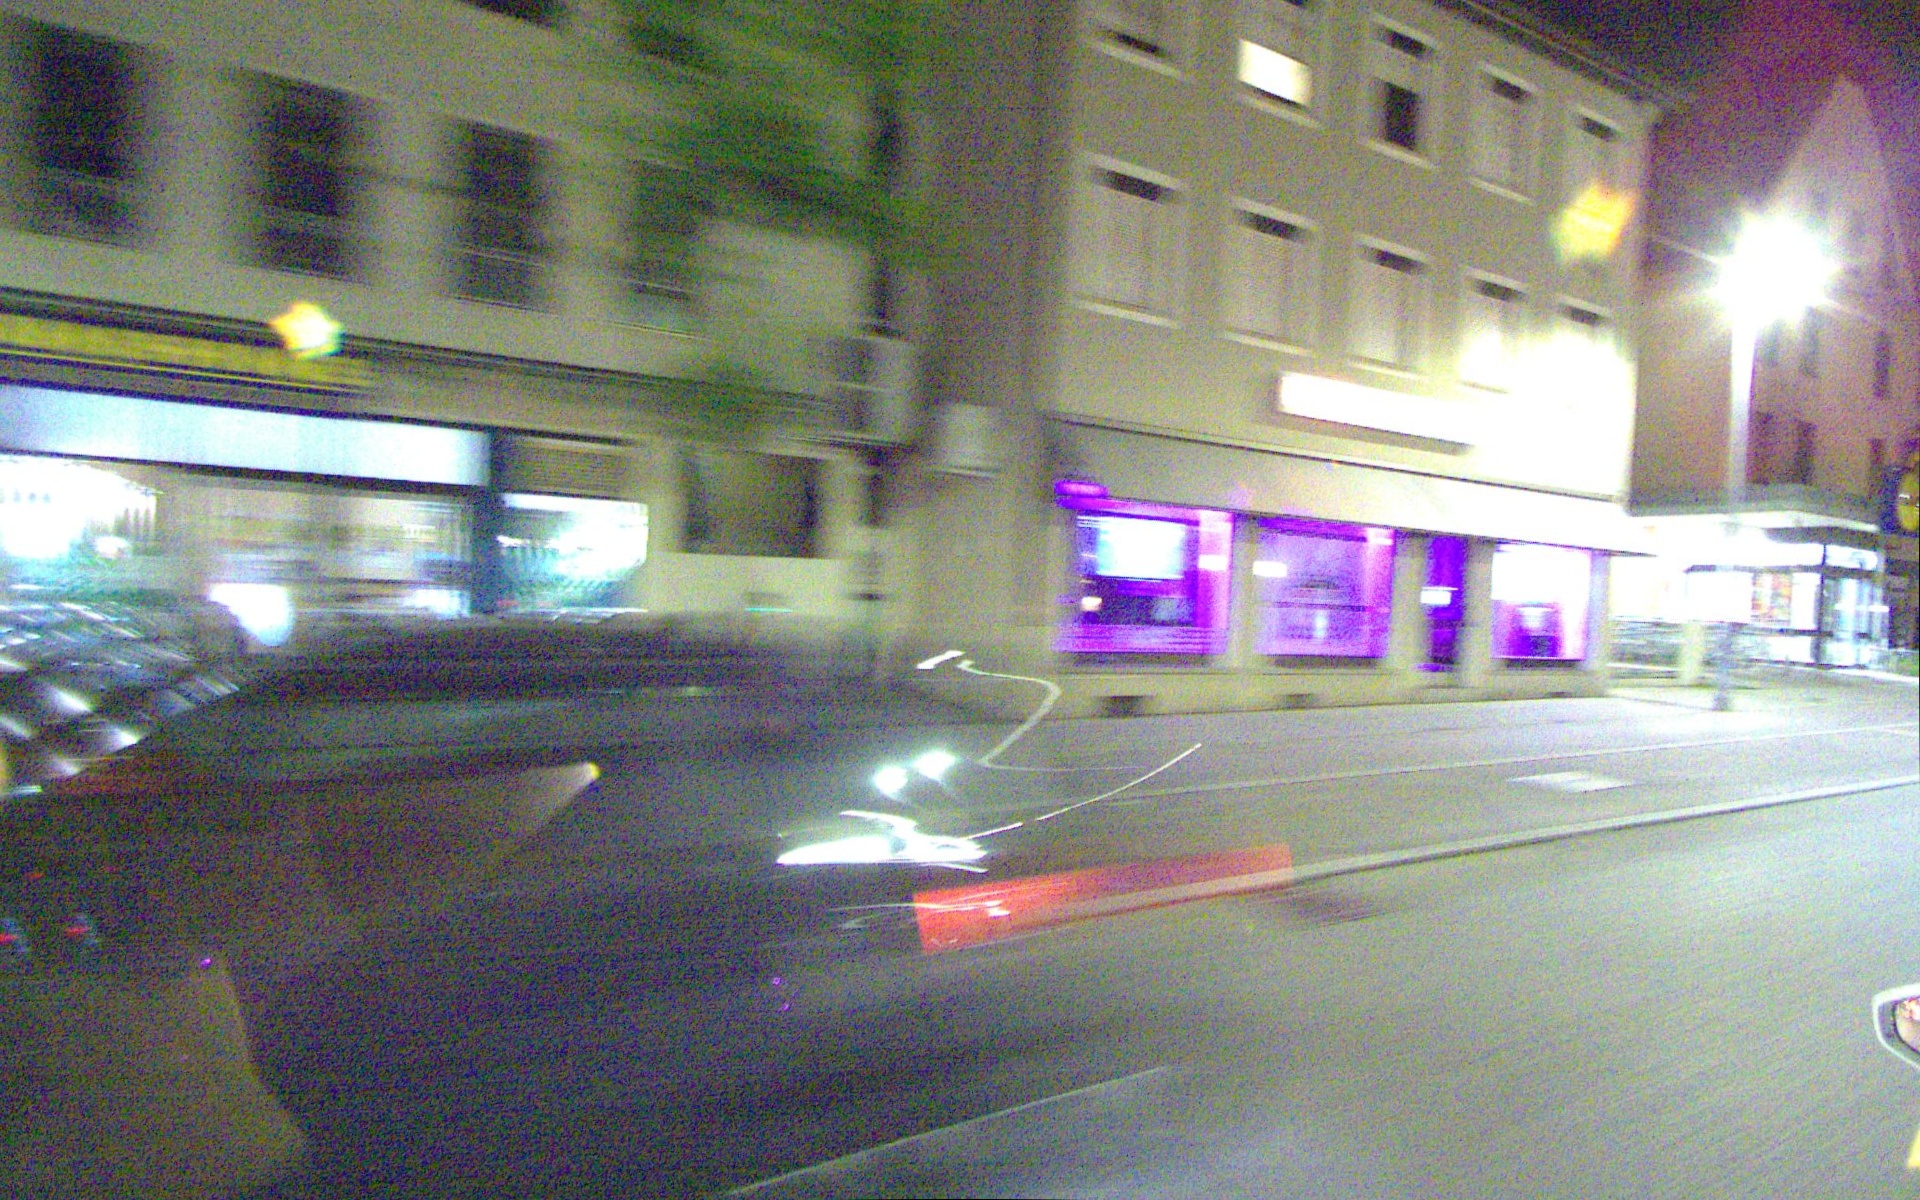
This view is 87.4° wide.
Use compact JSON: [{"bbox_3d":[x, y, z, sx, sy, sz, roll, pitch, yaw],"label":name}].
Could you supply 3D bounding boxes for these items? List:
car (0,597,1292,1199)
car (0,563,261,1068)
[{"bbox_3d":[-1.335,0.734,1.954,3.771,1.447,1.708,1,0,-31],"label":"car"},{"bbox_3d":[-4.933,0.568,2.680,4.874,1.438,1.886,1,2,-31],"label":"car"}]
